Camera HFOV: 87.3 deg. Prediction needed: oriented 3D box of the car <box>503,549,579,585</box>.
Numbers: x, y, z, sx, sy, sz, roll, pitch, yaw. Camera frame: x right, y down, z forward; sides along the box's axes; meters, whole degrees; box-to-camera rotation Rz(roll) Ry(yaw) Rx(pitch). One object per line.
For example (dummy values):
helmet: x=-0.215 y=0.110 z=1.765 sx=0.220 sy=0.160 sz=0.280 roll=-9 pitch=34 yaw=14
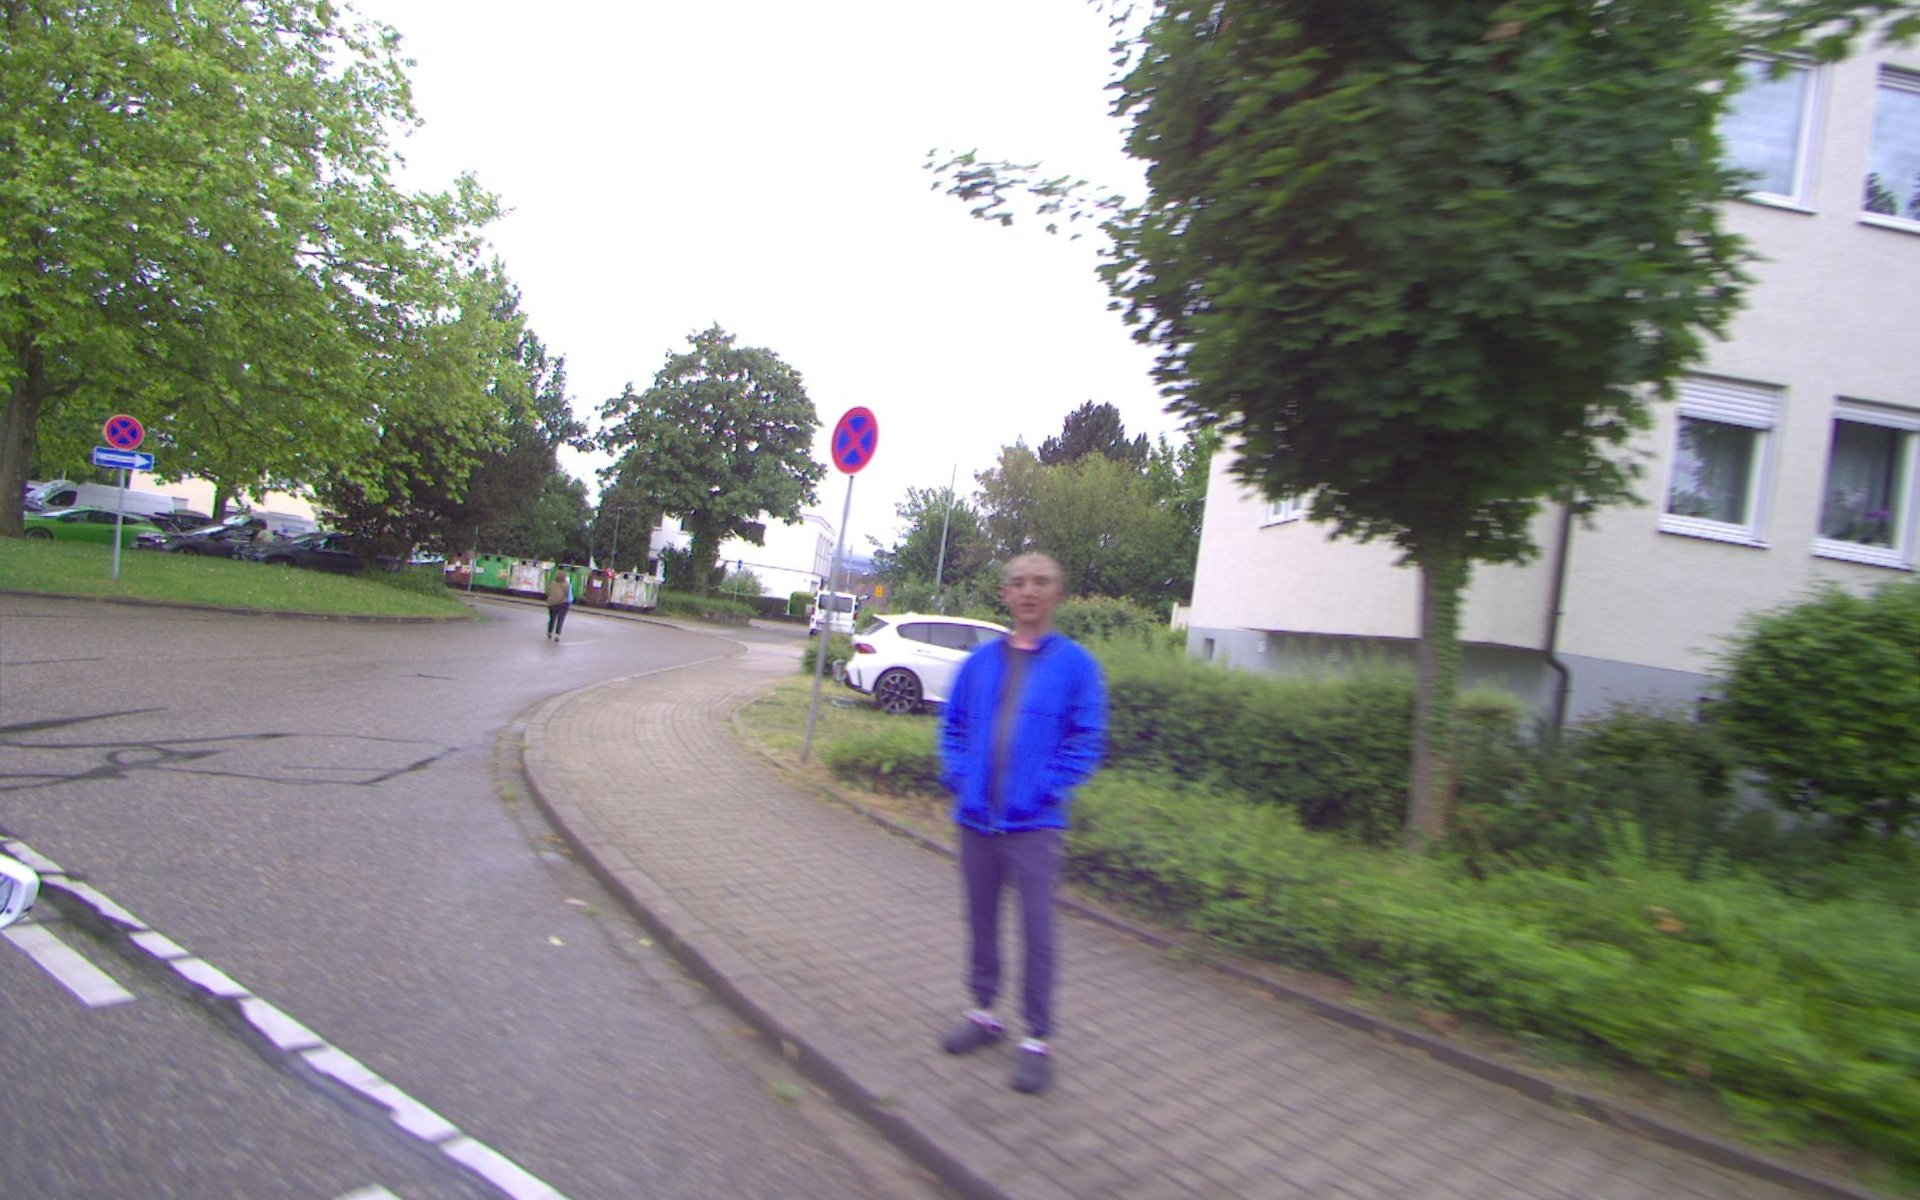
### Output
car: x=-24.489 y=-1.911 z=58.861 sx=1.674 sy=1.548 sz=3.635 roll=8 pitch=0 yaw=43

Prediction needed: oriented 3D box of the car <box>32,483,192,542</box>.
car: x=-31.051 y=-3.185 z=36.930 sx=4.112 sy=1.399 sz=1.765 roll=8 pitch=0 yaw=-4

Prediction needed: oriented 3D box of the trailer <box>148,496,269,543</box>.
trailer: x=-34.294 y=-3.640 z=46.016 sx=1.684 sy=1.454 sz=3.992 roll=7 pitch=-1 yaw=32

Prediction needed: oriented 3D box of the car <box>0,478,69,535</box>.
car: x=-28.757 y=-2.917 z=28.704 sx=1.733 sy=1.460 sz=4.583 roll=8 pitch=0 yaw=26

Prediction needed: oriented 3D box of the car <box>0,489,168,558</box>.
car: x=-25.563 y=-2.208 z=28.860 sx=1.733 sy=1.460 sz=4.019 roll=8 pitch=0 yaw=26

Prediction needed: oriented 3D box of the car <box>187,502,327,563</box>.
car: x=-31.837 y=-3.033 z=45.736 sx=1.964 sy=2.038 sz=4.762 roll=8 pitch=0 yaw=25

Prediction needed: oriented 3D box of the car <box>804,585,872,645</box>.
car: x=-4.930 y=0.605 z=41.438 sx=2.048 sy=2.038 sz=4.995 roll=8 pitch=0 yaw=-1

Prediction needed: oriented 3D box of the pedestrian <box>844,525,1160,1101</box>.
pedestrian: x=0.173 y=0.660 z=3.449 sx=0.761 sy=1.686 sz=0.591 roll=8 pitch=0 yaw=15

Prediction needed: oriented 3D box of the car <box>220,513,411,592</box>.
car: x=-18.619 y=-1.339 z=29.222 sx=1.740 sy=1.647 sz=4.273 roll=8 pitch=0 yaw=42

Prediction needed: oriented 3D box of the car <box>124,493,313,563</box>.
car: x=-21.475 y=-2.053 z=29.304 sx=1.733 sy=1.388 sz=4.019 roll=8 pitch=0 yaw=26

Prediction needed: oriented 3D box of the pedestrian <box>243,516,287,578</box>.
pedestrian: x=-20.229 y=-1.530 z=29.285 sx=0.578 sy=1.672 sz=0.738 roll=8 pitch=1 yaw=35

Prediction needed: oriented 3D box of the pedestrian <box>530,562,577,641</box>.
pedestrian: x=-8.939 y=0.020 z=22.097 sx=0.729 sy=1.602 sz=0.944 roll=8 pitch=0 yaw=-26

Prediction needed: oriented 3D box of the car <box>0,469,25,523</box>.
car: x=-37.543 y=-4.162 z=37.083 sx=4.134 sy=1.904 sz=2.000 roll=8 pitch=0 yaw=1

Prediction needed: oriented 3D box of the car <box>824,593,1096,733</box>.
car: x=-0.052 y=0.893 z=15.023 sx=3.702 sy=1.499 sz=1.744 roll=8 pitch=1 yaw=-5

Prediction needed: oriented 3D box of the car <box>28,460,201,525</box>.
car: x=-39.212 y=-4.931 z=46.906 sx=1.963 sy=2.038 sz=5.838 roll=8 pitch=0 yaw=21
